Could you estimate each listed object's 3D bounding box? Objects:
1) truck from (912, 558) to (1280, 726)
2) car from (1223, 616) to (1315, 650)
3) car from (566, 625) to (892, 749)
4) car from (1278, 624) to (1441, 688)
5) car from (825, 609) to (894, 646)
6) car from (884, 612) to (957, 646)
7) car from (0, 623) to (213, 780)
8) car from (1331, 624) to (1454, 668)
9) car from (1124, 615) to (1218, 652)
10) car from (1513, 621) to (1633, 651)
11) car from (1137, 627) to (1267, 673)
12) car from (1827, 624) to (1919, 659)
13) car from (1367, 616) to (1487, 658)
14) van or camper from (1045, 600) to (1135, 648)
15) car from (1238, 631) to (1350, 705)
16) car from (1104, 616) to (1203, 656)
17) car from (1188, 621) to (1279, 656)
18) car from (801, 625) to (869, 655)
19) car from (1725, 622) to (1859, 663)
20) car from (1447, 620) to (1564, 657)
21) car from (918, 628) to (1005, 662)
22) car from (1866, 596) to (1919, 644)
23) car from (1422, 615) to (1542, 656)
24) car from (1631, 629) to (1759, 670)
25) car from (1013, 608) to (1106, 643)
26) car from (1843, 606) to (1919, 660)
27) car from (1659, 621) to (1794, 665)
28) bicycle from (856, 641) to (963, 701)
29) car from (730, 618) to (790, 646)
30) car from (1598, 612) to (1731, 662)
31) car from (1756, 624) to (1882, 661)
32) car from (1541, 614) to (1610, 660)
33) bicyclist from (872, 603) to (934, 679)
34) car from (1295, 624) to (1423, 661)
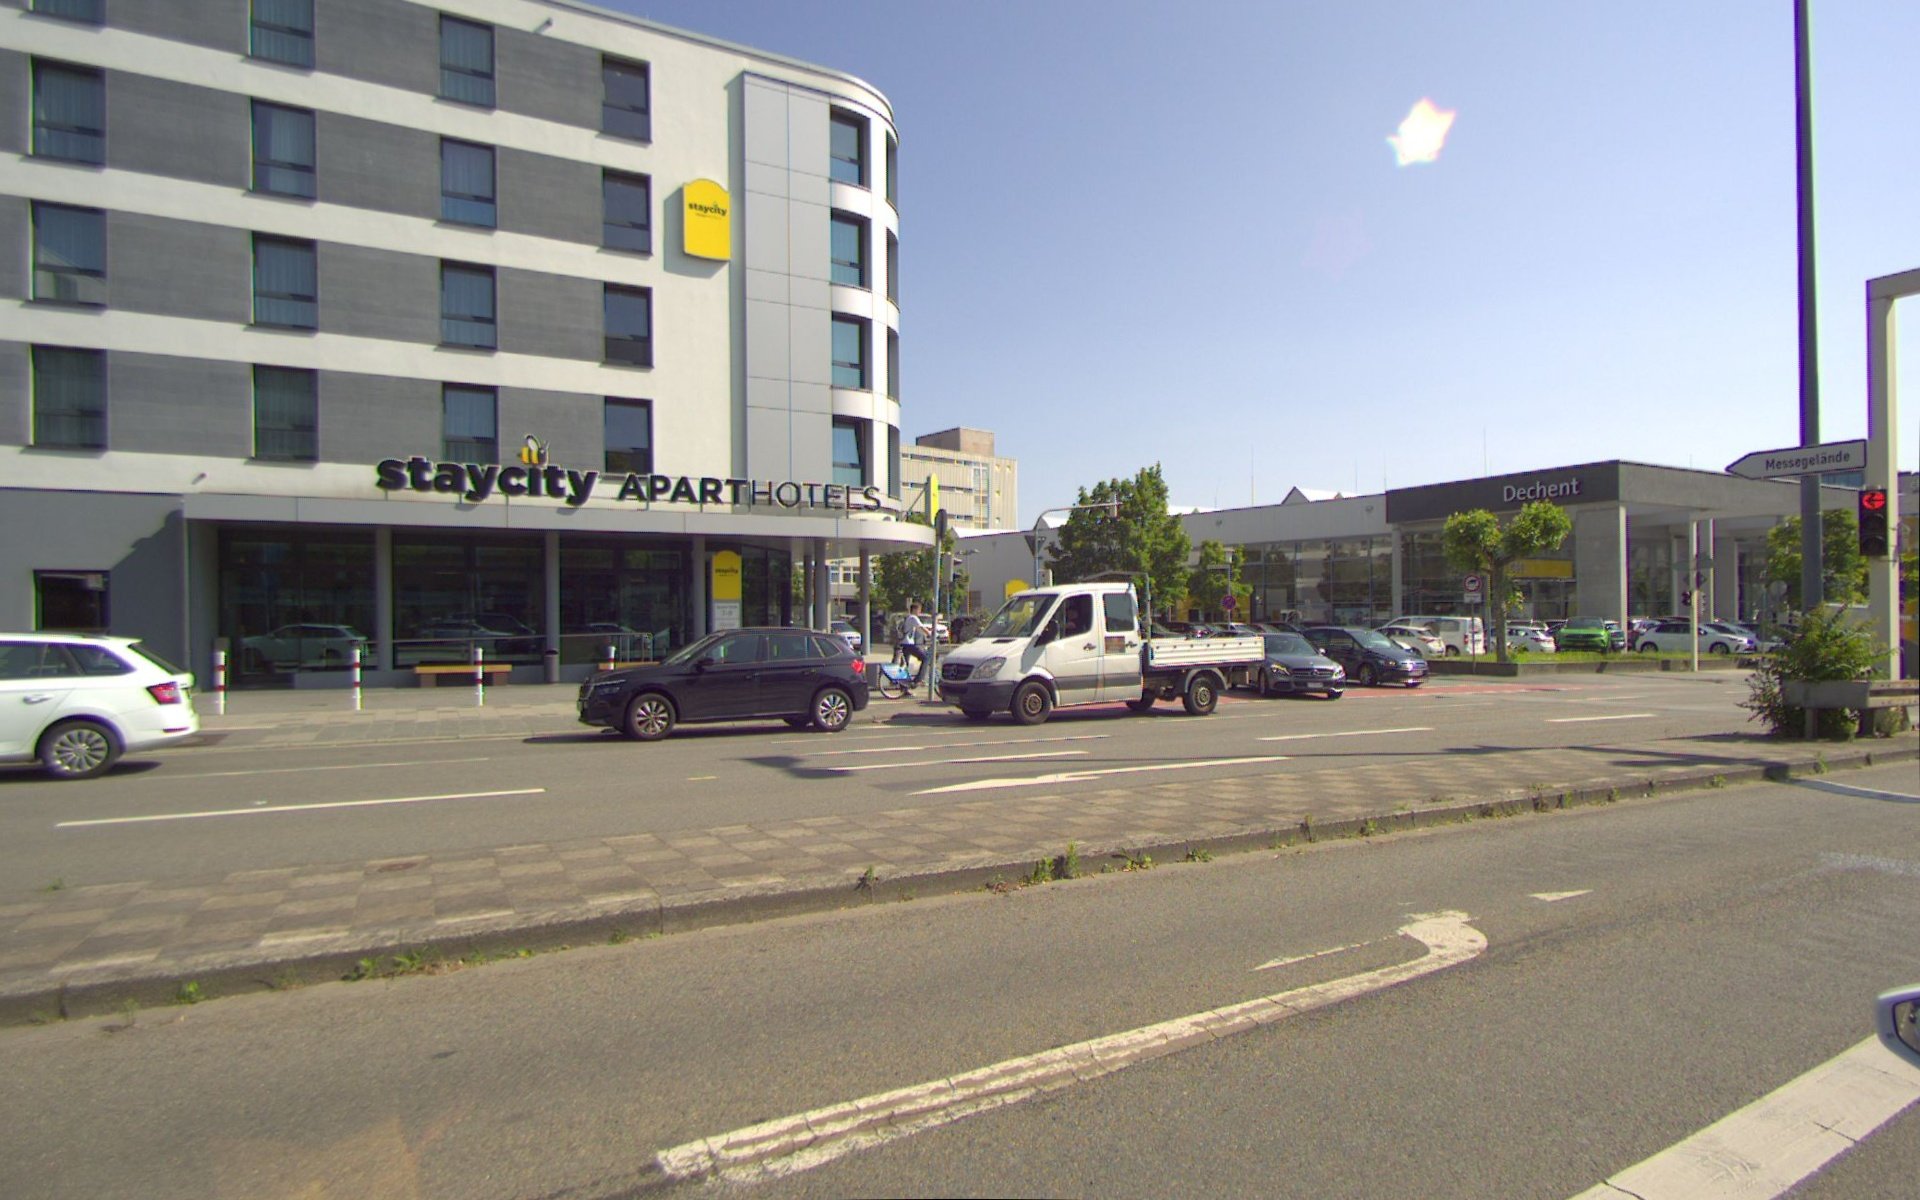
[{"bbox_3d":[2.505,0.747,17.951,6.355,2.578,2.349,1,-3,-28],"label":"truck"},{"bbox_3d":[16.235,1.722,52.905,1.982,1.719,4.324,1,-1,-37],"label":"car"},{"bbox_3d":[-3.384,1.196,14.895,4.360,1.598,1.985,1,-2,-30],"label":"car"},{"bbox_3d":[11.091,1.500,28.170,1.867,1.639,4.107,1,-1,-26],"label":"car"},{"bbox_3d":[-6.386,1.729,63.624,1.985,2.158,4.565,2,0,-42],"label":"car"},{"bbox_3d":[-2.362,1.689,59.549,1.970,1.815,4.376,2,0,-42],"label":"car"},{"bbox_3d":[-10.285,1.013,10.089,4.370,1.505,1.981,2,-4,-36],"label":"car"},{"bbox_3d":[17.819,1.853,41.539,1.980,1.719,4.328,1,-1,-35],"label":"car"},{"bbox_3d":[10.176,1.598,48.717,1.980,1.719,4.328,1,-1,-35],"label":"car"},{"bbox_3d":[28.283,1.673,46.467,1.982,1.284,4.325,3,-4,-37],"label":"car"},{"bbox_3d":[8.407,1.699,35.094,3.943,1.349,1.989,2,0,43],"label":"car"},{"bbox_3d":[47.439,2.084,51.311,1.970,1.719,4.350,1,-1,-21],"label":"car"},{"bbox_3d":[20.203,1.561,43.580,1.982,1.719,4.323,1,-2,-38],"label":"car"},{"bbox_3d":[6.826,1.273,53.218,1.983,2.432,4.678,1,-1,-38],"label":"van or camper"},{"bbox_3d":[7.783,1.533,23.769,1.866,1.378,4.002,2,1,10],"label":"car"},{"bbox_3d":[8.827,1.620,46.144,1.980,1.719,4.328,1,-1,-35],"label":"car"},{"bbox_3d":[14.075,1.971,51.859,1.980,1.719,4.328,1,-1,-35],"label":"car"},{"bbox_3d":[-6.624,2.077,52.858,1.763,1.457,3.871,1,-2,-39],"label":"car"},{"bbox_3d":[37.855,1.901,45.788,1.978,1.719,4.333,1,-1,-32],"label":"car"},{"bbox_3d":[24.969,1.715,46.084,1.982,1.612,4.325,1,-2,-37],"label":"car"},{"bbox_3d":[0.028,2.004,45.695,1.982,1.461,3.957,1,-2,-38],"label":"car"},{"bbox_3d":[53.661,1.122,55.933,1.972,2.635,4.345,1,-1,-24],"label":"car"},{"bbox_3d":[22.962,1.530,44.318,1.982,1.719,4.323,1,-2,-38],"label":"car"},{"bbox_3d":[30.931,2.047,42.342,1.981,1.620,3.959,1,-1,-36],"label":"car"},{"bbox_3d":[4.986,1.273,50.469,4.304,1.719,1.991,-1,-1,40],"label":"car"},{"bbox_3d":[49.510,1.722,52.575,2.096,2.720,4.490,1,-1,-21],"label":"car"},{"bbox_3d":[33.223,1.812,43.673,1.978,1.789,4.274,1,-1,-32],"label":"car"},{"bbox_3d":[-1.016,1.419,20.495,2.142,1.131,0.762,1,-1,-38],"label":"bicycle"},{"bbox_3d":[-11.796,1.861,59.077,1.979,1.466,4.331,1,0,-33],"label":"car"},{"bbox_3d":[27.762,1.431,39.695,1.978,1.862,3.849,1,-1,-32],"label":"car"},{"bbox_3d":[42.043,2.058,49.256,1.978,1.719,4.333,1,-1,-32],"label":"car"},{"bbox_3d":[24.405,1.469,39.922,1.870,1.756,3.293,0,-3,23],"label":"car"},{"bbox_3d":[-1.162,0.824,20.396,1.018,1.479,0.762,1,-1,-39],"label":"bicyclist"},{"bbox_3d":[15.522,1.623,39.287,1.980,1.317,4.328,1,-1,-35],"label":"car"}]
